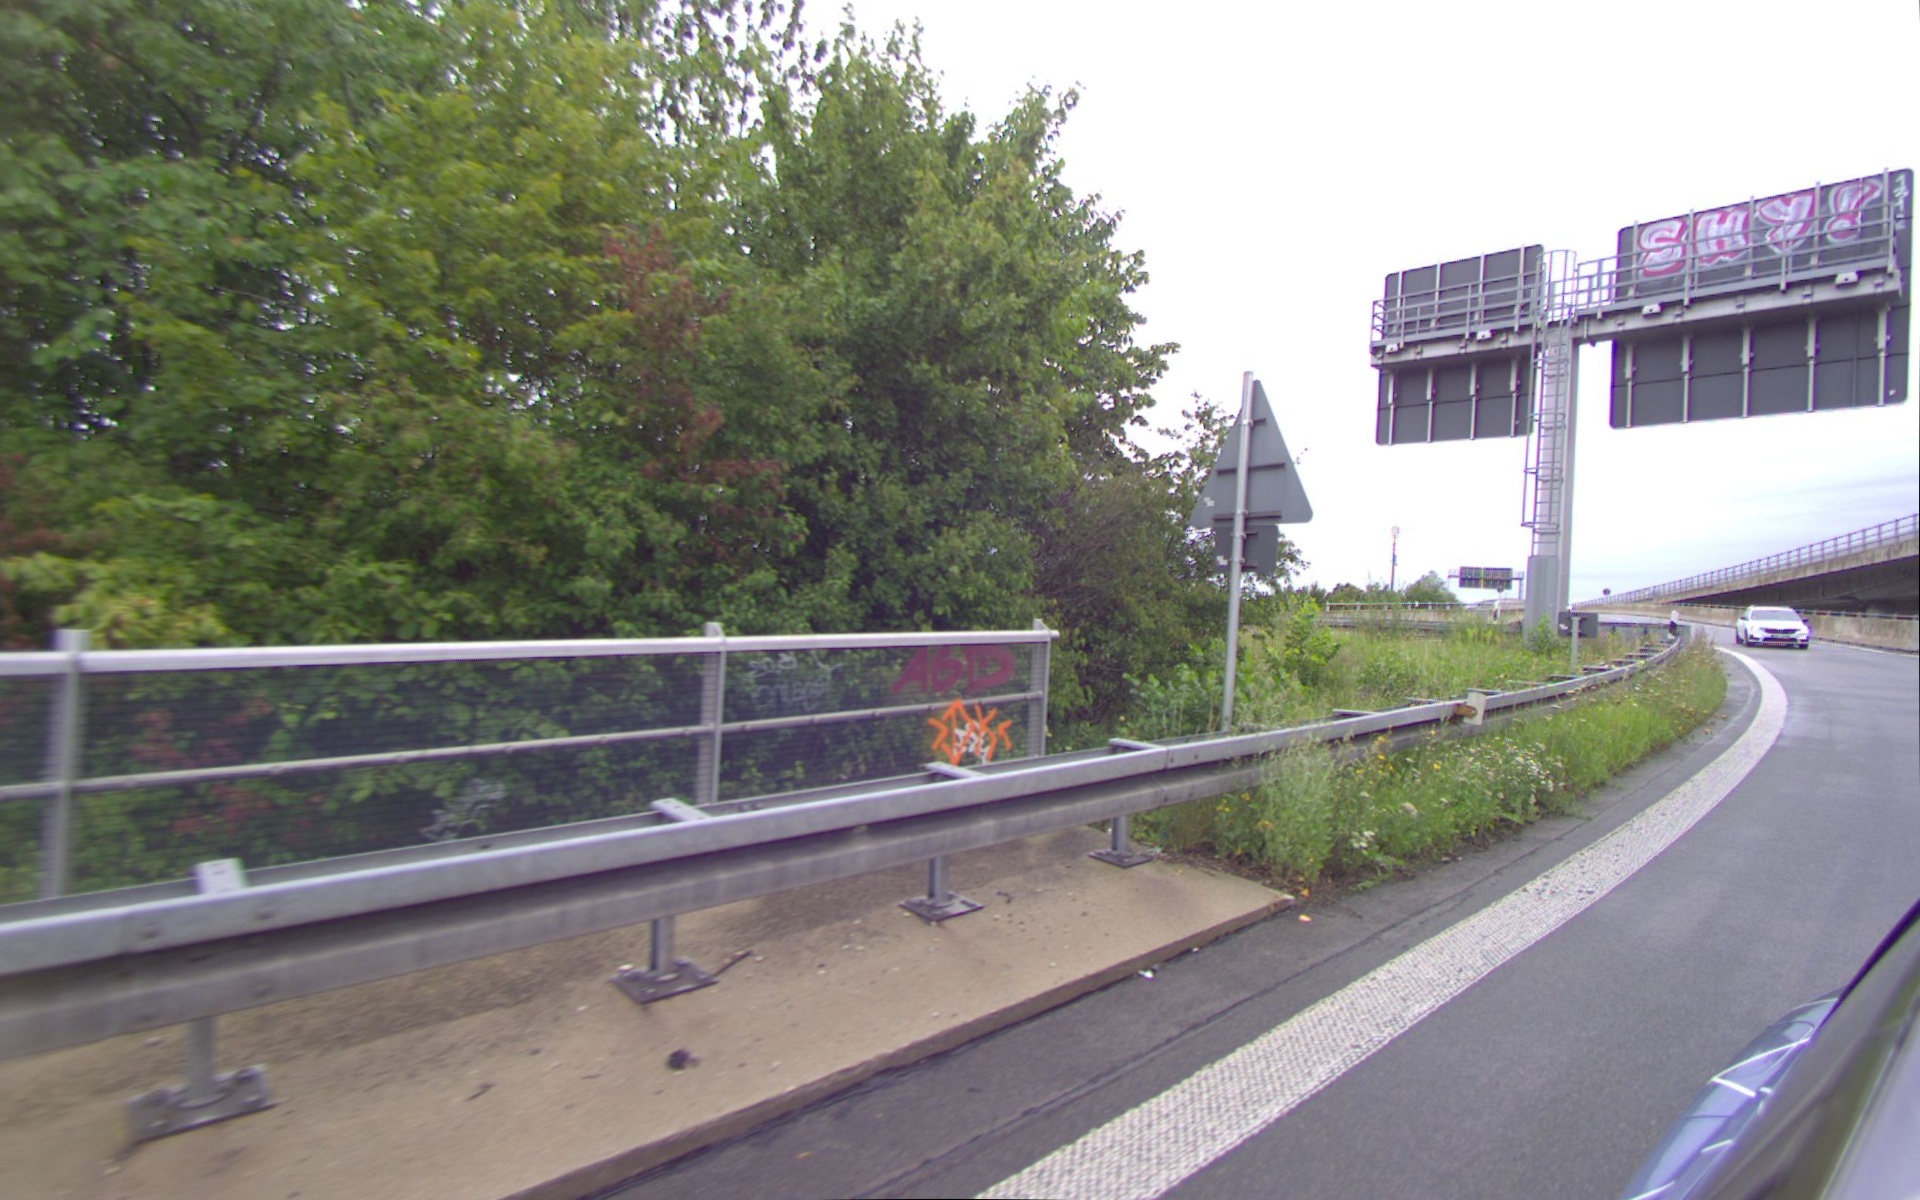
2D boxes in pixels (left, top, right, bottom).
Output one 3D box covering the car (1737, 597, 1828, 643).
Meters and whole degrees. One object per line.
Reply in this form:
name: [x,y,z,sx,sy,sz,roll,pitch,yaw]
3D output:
car: [30.145,0.717,37.236,1.902,1.465,4.505,4,2,31]
